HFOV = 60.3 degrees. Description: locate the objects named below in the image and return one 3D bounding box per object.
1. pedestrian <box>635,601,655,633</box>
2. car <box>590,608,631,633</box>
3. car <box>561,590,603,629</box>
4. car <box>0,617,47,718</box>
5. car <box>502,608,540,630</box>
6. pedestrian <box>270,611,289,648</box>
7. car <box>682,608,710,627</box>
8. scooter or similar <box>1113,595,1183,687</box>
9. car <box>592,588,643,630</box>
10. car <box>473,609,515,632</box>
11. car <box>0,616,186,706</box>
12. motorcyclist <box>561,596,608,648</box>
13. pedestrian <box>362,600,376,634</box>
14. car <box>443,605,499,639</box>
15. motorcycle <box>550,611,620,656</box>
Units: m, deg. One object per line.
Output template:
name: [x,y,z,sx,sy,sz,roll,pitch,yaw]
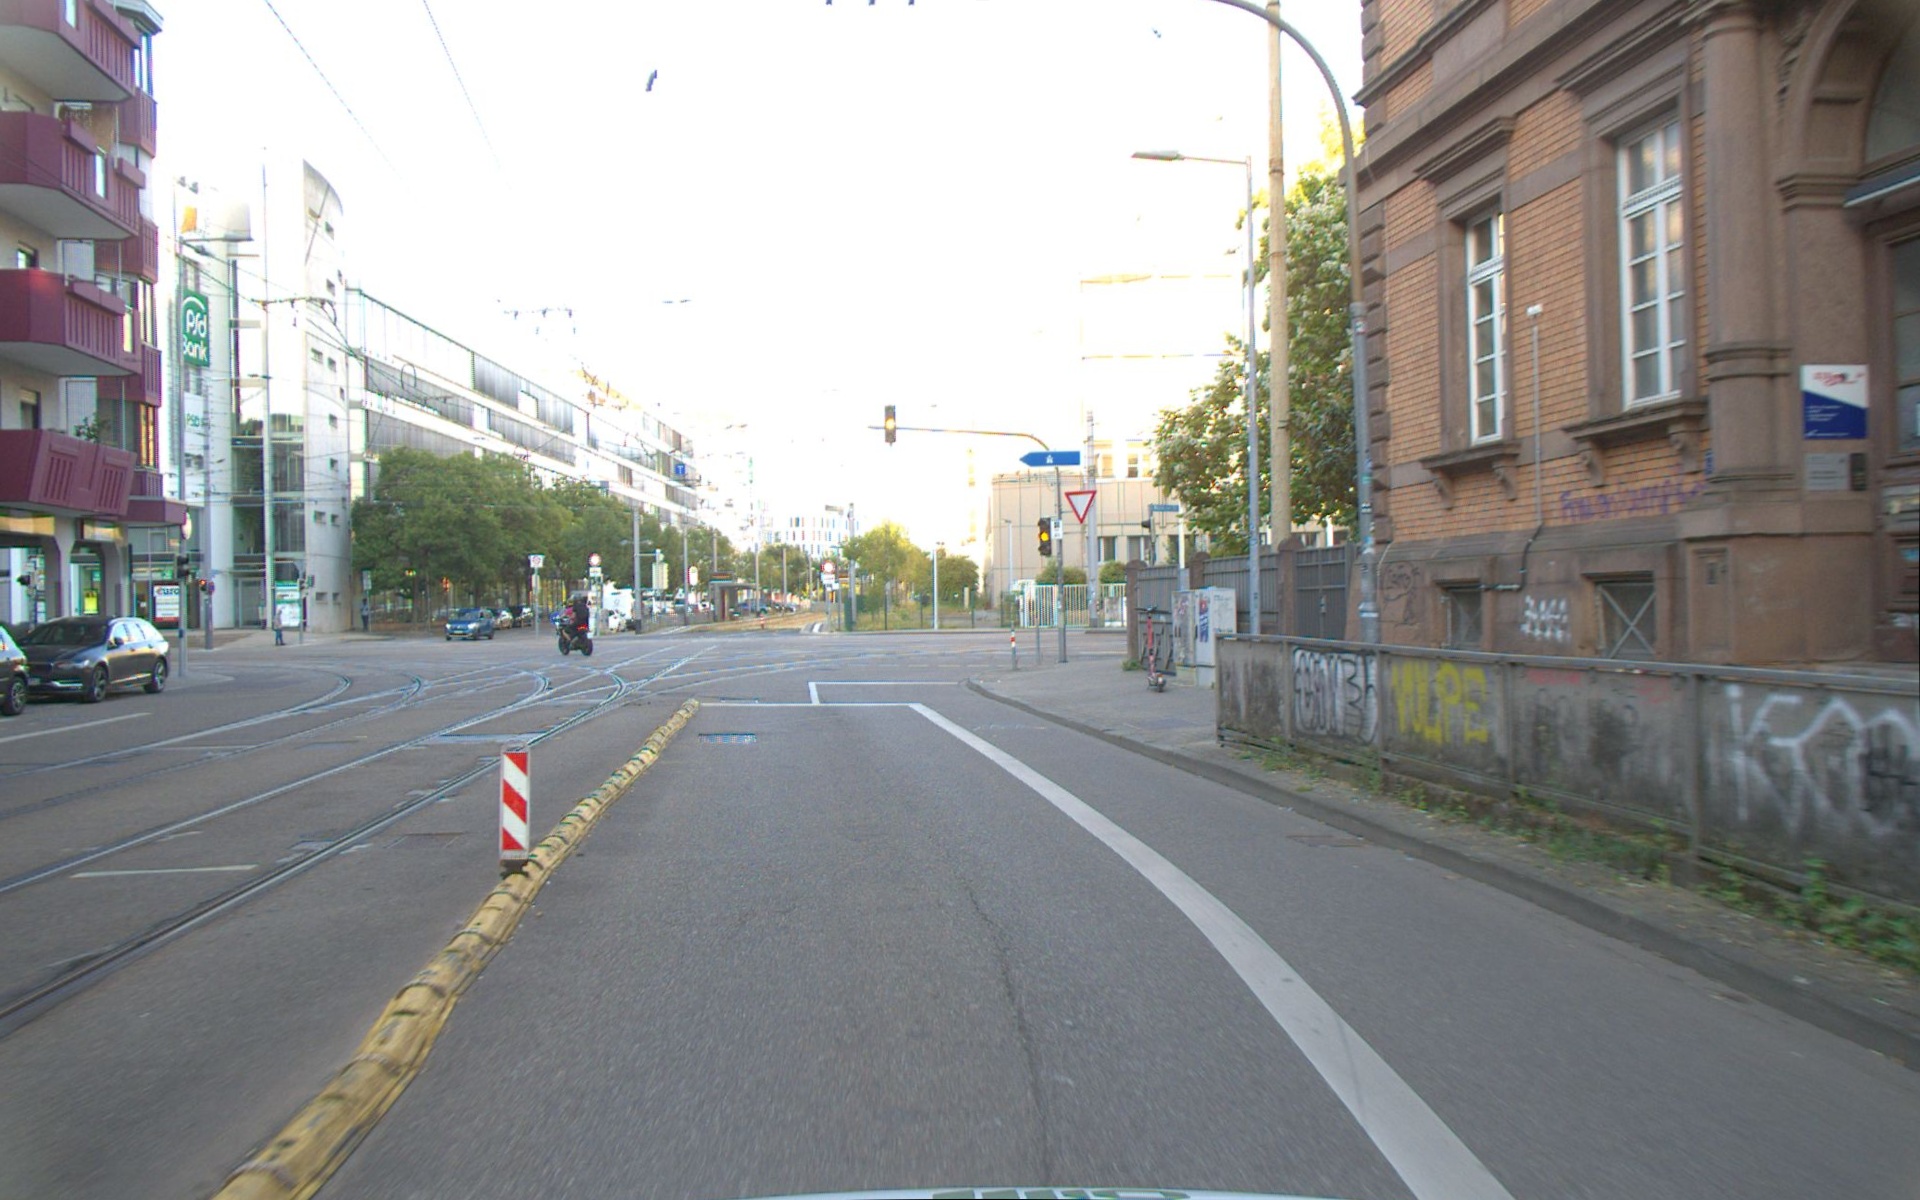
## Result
pedestrian: [-20.575,1.091,108.131,1.028,2.066,0.975,-1,0,-28]
car: [-21.360,1.252,101.283,1.648,1.464,4.125,-1,0,-1]
car: [-32.504,0.795,142.524,2.156,3.207,6.142,-1,0,0]
car: [-15.525,1.038,24.794,1.754,1.535,4.193,0,0,-7]
car: [-32.078,1.376,120.901,1.648,1.528,4.239,-1,0,0]
pedestrian: [-32.717,1.398,79.548,0.534,1.741,0.660,-1,0,9]
car: [-21.544,1.418,134.900,1.648,1.464,4.125,-1,0,-1]
scooter or similar: [2.790,0.588,24.643,0.629,1.288,1.580,-3,0,-7]
car: [-22.147,0.567,107.211,2.412,2.526,5.803,-1,0,-4]
car: [-32.244,1.404,114.513,1.648,1.528,4.239,-1,0,0]
car: [-16.156,1.057,30.621,1.817,1.482,5.077,-1,0,-7]
motorcyclist: [-11.078,0.654,48.740,0.825,1.499,1.187,-1,0,-44]
pedestrian: [-34.493,0.986,96.579,0.650,1.956,0.546,-2,0,-12]
car: [-26.740,1.188,90.556,1.648,1.729,4.239,-1,0,1]
motorcycle: [-11.058,0.991,48.717,0.825,1.261,2.450,-1,0,-44]
